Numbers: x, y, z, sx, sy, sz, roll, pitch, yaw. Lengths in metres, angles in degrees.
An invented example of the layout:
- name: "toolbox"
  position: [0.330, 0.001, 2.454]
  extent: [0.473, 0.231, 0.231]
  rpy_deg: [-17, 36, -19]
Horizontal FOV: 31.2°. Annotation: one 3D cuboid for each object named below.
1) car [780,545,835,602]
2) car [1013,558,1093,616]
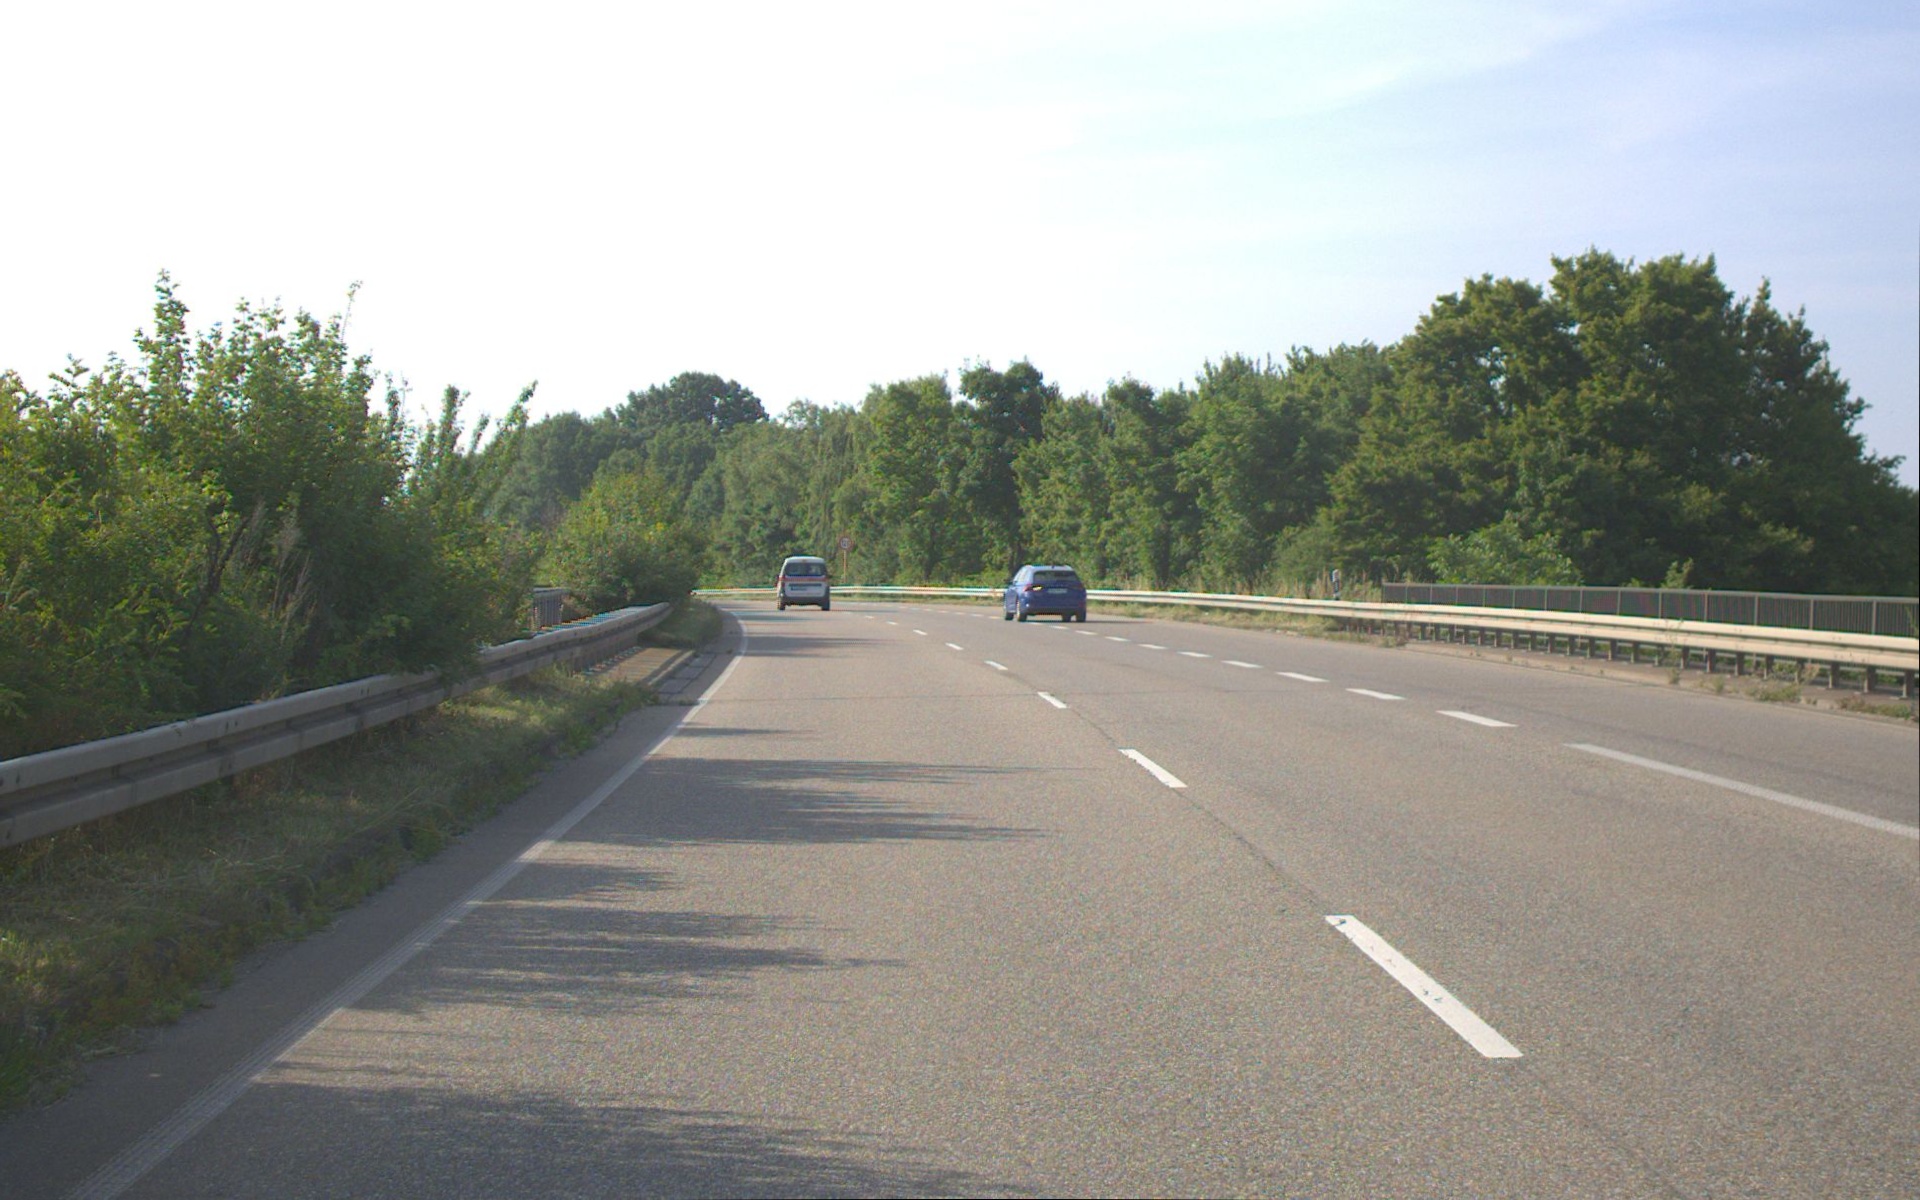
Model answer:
- name: "car"
  position: [-5.170, -0.904, 116.253]
  extent: [1.765, 1.875, 4.001]
  rpy_deg: [1, 0, -3]
- name: "car"
  position: [2.395, -0.323, 89.359]
  extent: [1.779, 1.447, 4.000]
  rpy_deg: [0, 0, -3]
